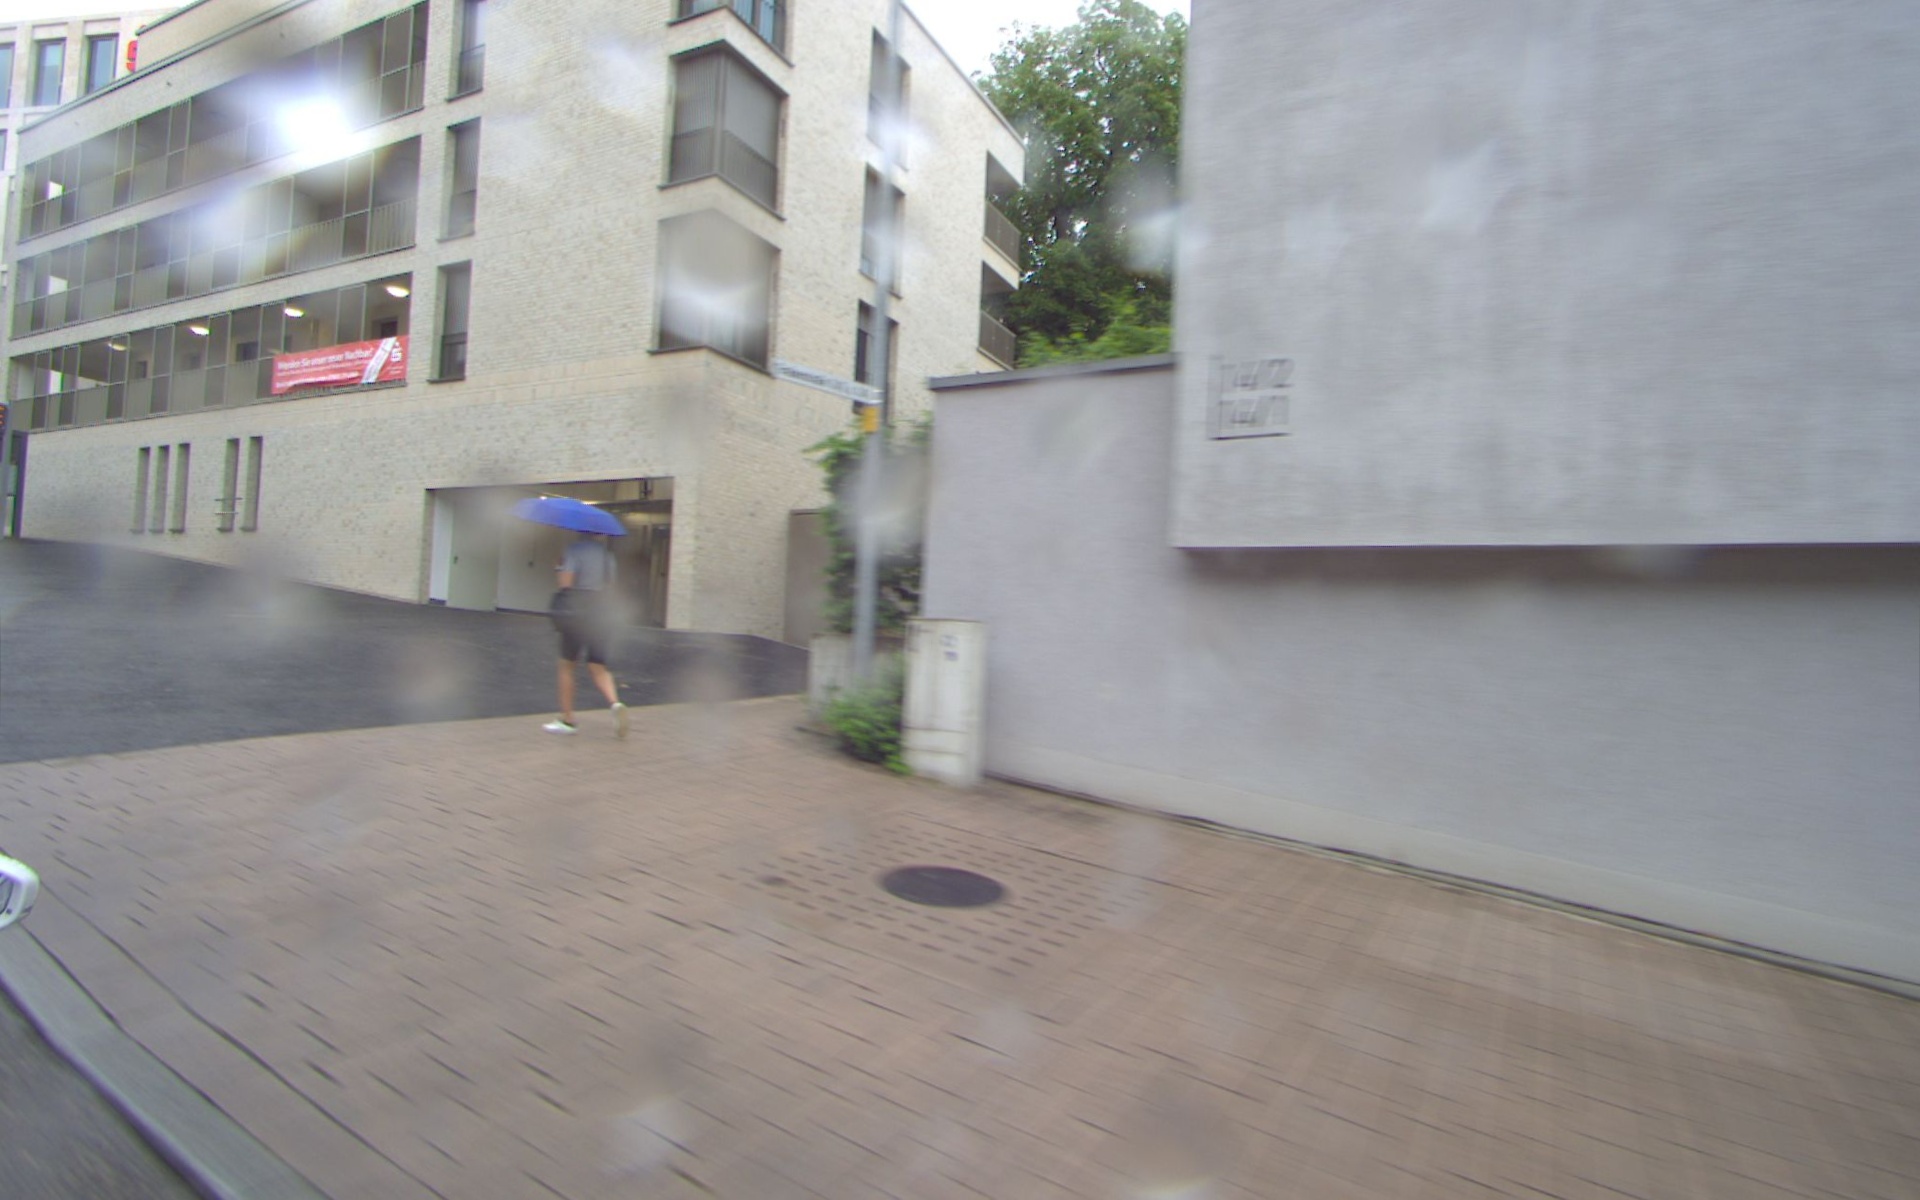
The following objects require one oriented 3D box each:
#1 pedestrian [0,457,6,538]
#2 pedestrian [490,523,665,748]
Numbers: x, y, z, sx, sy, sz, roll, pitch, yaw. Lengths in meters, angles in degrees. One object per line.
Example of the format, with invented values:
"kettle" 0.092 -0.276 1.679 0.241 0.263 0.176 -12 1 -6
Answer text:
"pedestrian" -24.035 -2.561 24.546 1.004 1.965 0.782 6 2 31
"pedestrian" -2.950 0.241 7.751 1.021 1.563 0.735 7 3 34
